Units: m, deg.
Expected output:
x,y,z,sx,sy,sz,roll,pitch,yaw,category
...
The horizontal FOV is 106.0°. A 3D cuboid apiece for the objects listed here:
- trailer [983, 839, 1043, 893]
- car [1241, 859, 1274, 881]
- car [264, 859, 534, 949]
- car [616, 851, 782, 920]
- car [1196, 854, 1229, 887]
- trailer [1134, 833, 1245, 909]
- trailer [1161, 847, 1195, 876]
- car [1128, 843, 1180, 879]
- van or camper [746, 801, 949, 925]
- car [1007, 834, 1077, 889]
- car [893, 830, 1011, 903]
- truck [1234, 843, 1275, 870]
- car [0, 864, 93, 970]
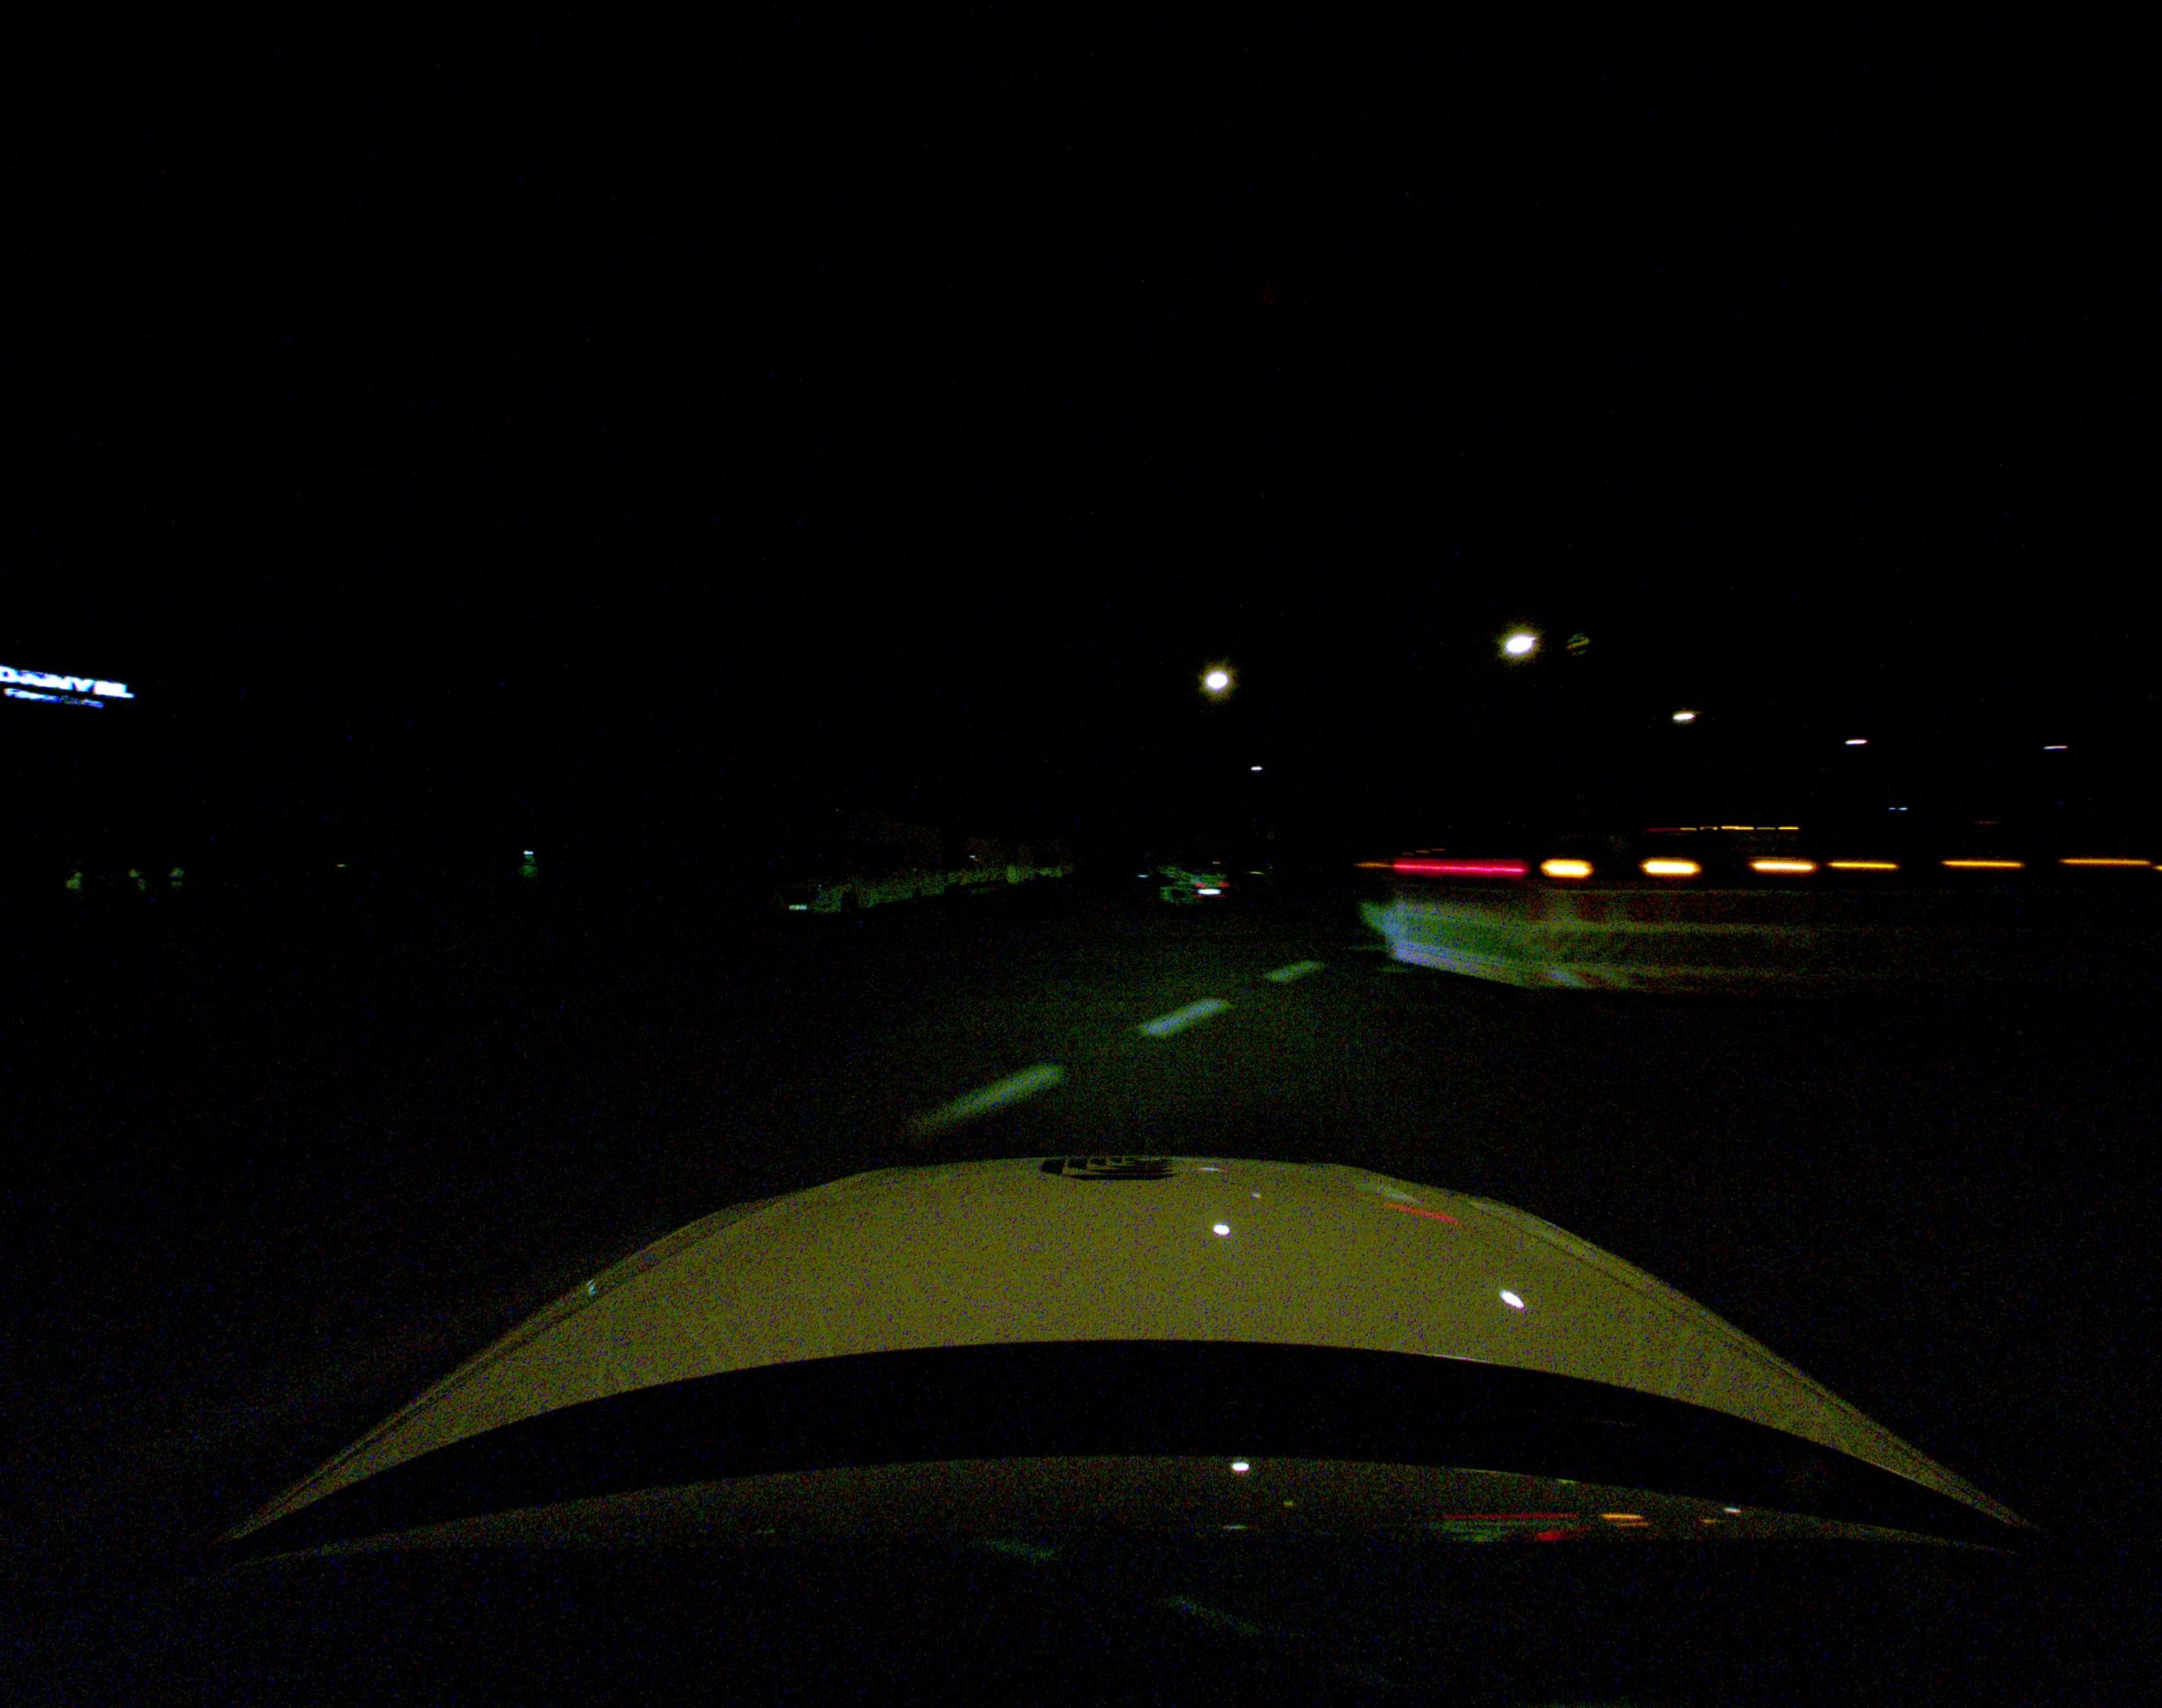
x,y,z,sx,sy,sz,roll,pitch,yaw,category
-3.330,0.556,40.388,1.981,2.527,3.579,-2,0,11,trailer
14.792,1.332,68.124,1.705,1.821,4.023,1,-1,26,car
-22.786,1.516,27.634,1.974,2.554,6.723,1,1,35,car
-17.193,1.298,37.132,1.974,2.841,6.723,1,1,35,car
7.783,0.966,48.044,1.709,1.821,4.013,1,-1,12,car
3.352,0.540,26.257,1.562,2.161,5.192,-1,-1,-16,trailer
9.804,0.751,82.342,1.975,2.813,4.730,0,0,26,trailer
6.962,0.598,76.553,2.496,3.171,7.178,-2,-1,25,car
-6.565,0.260,24.366,2.502,3.094,7.470,-2,-1,12,van or camper
-2.124,0.417,47.364,2.504,2.927,7.221,-2,-1,10,car
-5.031,0.471,33.319,2.503,2.606,7.111,-2,0,10,car
23.131,0.302,108.105,1.974,3.403,9.036,1,1,35,truck
-28.652,1.600,19.708,1.974,2.554,5.915,1,1,35,car
